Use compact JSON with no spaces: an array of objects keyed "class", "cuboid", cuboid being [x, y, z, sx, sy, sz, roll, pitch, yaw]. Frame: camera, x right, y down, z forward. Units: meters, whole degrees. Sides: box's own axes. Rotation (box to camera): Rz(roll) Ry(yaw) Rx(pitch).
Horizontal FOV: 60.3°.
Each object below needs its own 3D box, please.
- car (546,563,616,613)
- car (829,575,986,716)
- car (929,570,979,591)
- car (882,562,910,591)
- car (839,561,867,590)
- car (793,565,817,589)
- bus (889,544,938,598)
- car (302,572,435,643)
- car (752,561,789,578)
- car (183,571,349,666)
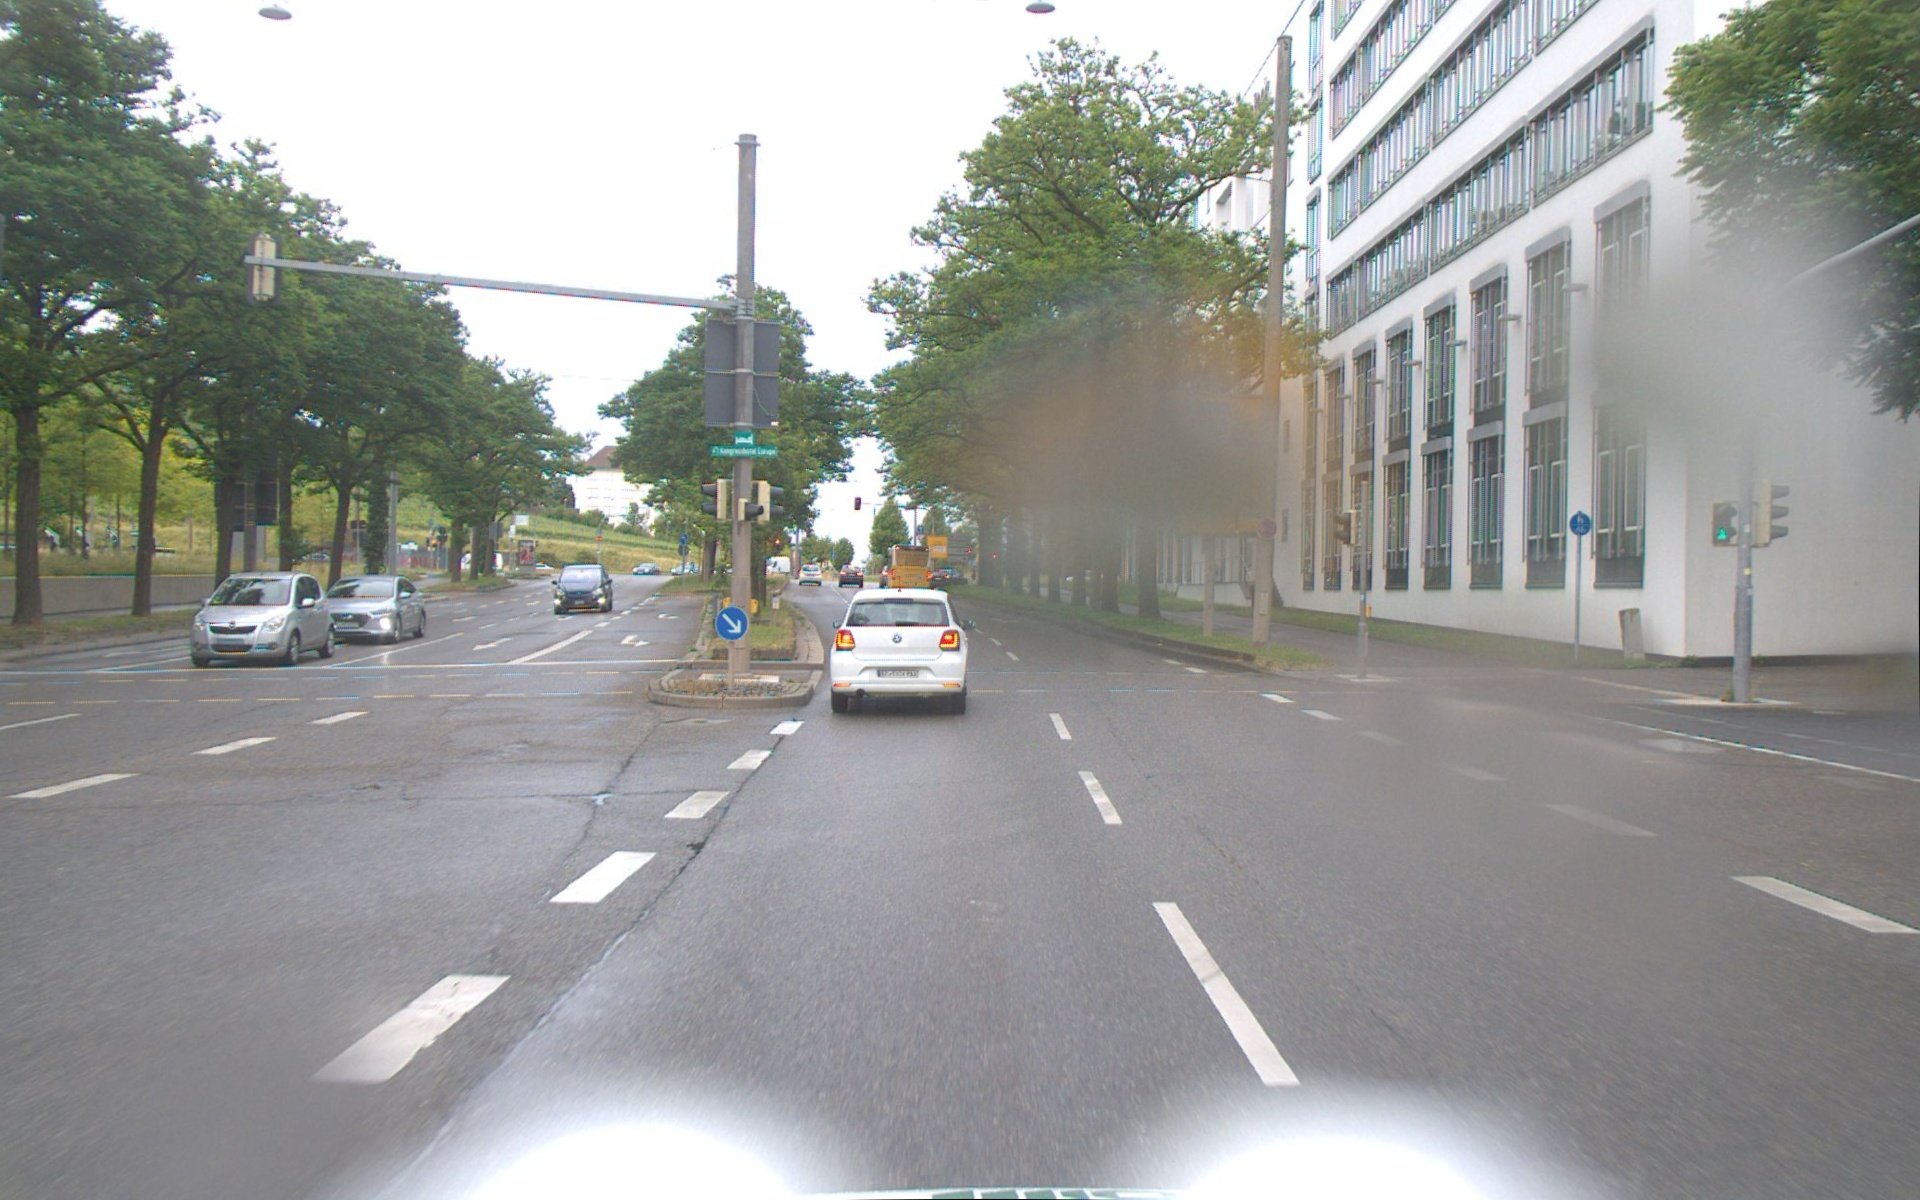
[{"class":"car","cuboid":[-13.423,-0.458,58.865,1.956,1.644,5.112,-1,2,-8]},{"class":"car","cuboid":[-0.705,0.499,20.986,1.758,1.528,3.998,2,1,-3]},{"class":"car","cuboid":[-0.439,-1.439,122.127,1.669,1.542,3.806,1,0,40]},{"class":"car","cuboid":[-4.796,-1.727,122.993,1.954,2.049,3.996,1,0,-4]},{"class":"car","cuboid":[-7.904,-1.773,121.928,1.954,2.049,3.996,1,0,-4]},{"class":"car","cuboid":[-11.572,-1.689,123.341,1.759,1.772,3.996,0,0,-5]},{"class":"bus","cuboid":[-3.146,-1.939,109.636,2.772,3.323,9.992,1,1,-4]},{"class":"car","cuboid":[-13.061,0.122,36.796,1.780,1.436,4.649,-1,1,-7]},{"class":"car","cuboid":[-23.170,-3.704,202.611,1.953,2.048,5.709,1,1,23]},{"class":"car","cuboid":[-12.161,0.270,29.236,1.717,1.547,3.811,0,1,-7]}]
